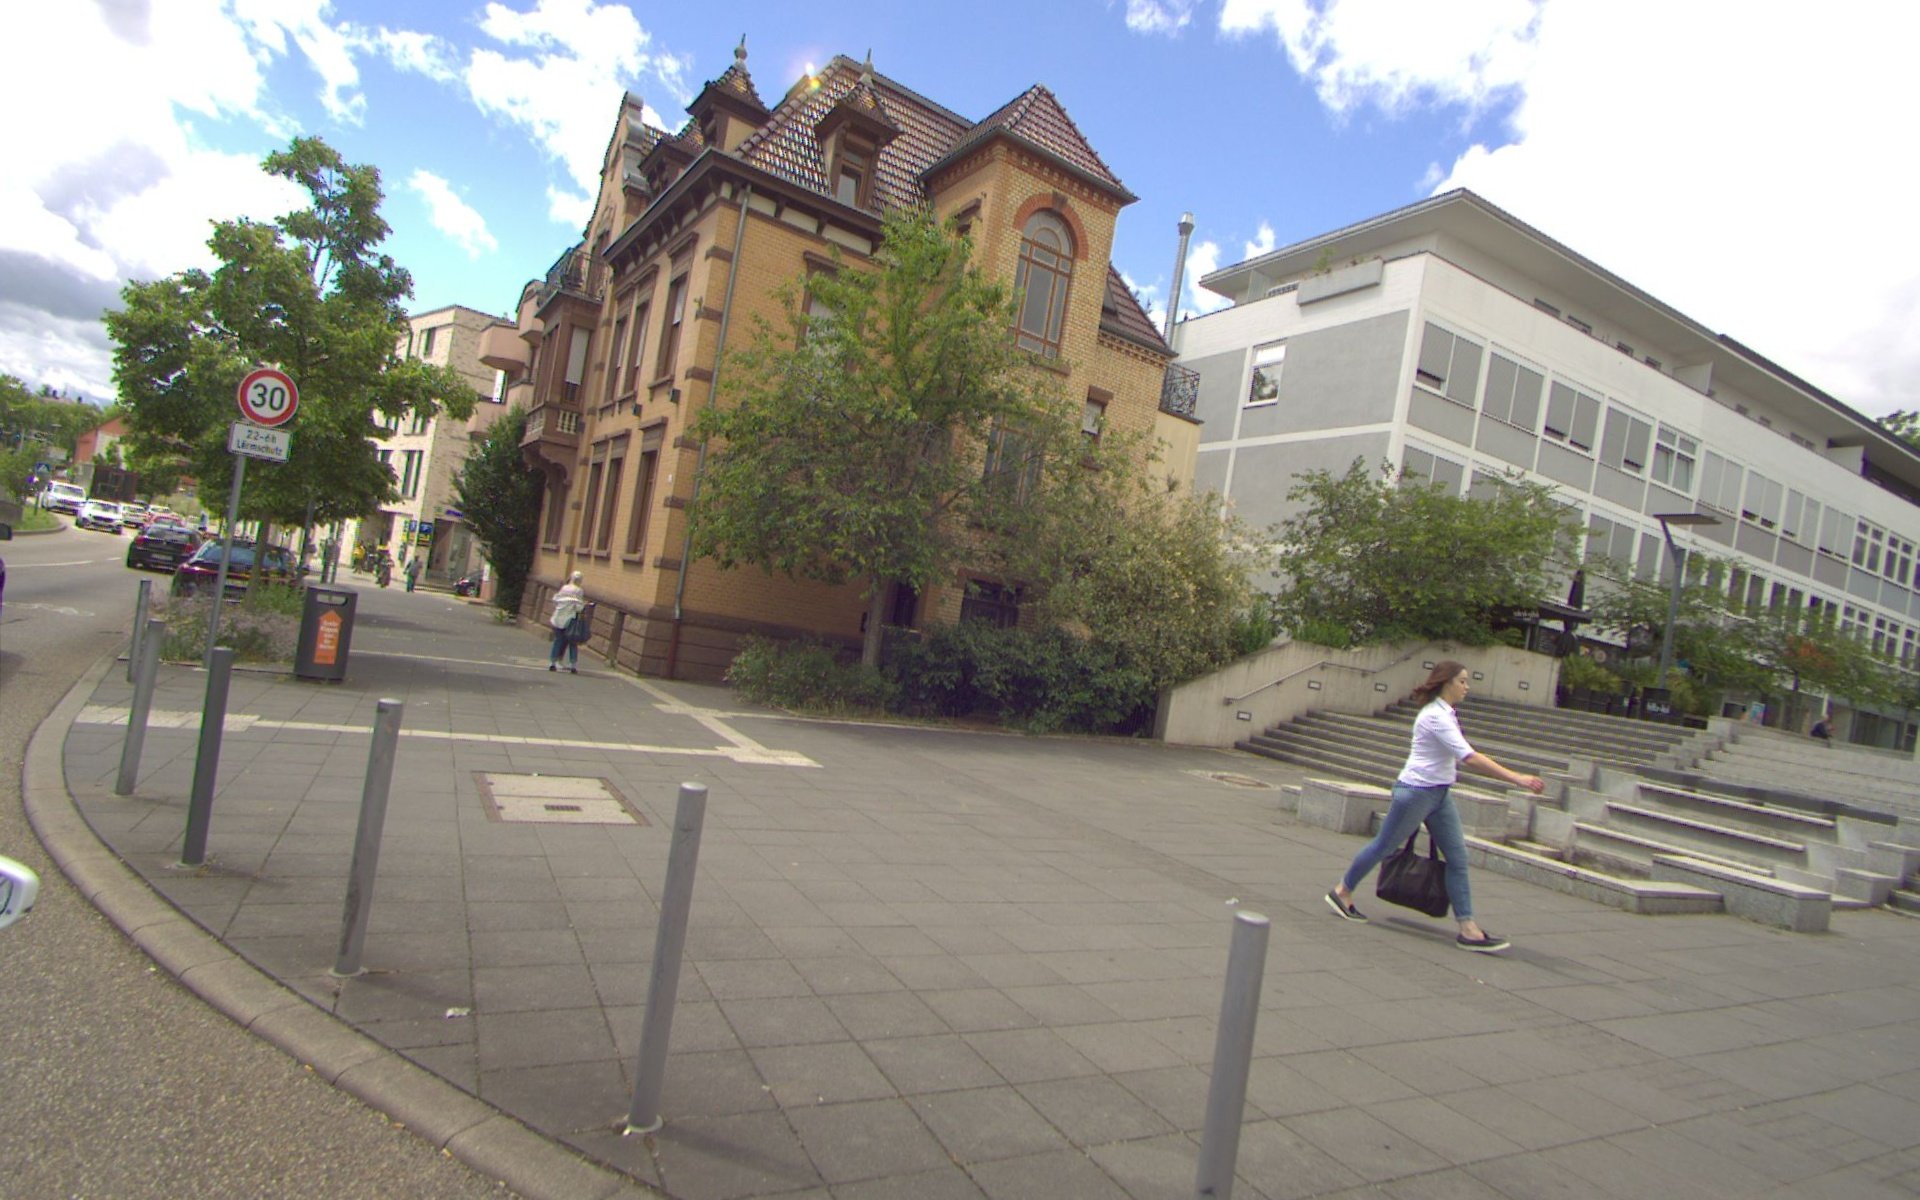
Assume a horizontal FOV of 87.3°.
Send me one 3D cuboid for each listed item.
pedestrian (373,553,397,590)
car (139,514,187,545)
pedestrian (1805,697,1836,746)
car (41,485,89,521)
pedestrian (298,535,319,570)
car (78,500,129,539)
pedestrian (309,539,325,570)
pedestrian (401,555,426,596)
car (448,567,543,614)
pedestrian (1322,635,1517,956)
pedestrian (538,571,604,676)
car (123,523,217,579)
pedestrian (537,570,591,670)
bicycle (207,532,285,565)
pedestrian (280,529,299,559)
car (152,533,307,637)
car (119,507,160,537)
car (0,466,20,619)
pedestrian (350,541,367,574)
[{"bbox_3d":[-26.703,-1.323,46.728,0.708,1.581,0.562,9,-2,-37],"label":"pedestrian"},{"bbox_3d":[-45.190,-3.997,57.034,1.606,1.399,3.787,10,-2,-45],"label":"car"},{"bbox_3d":[25.191,3.565,29.459,0.561,1.339,0.543,7,-1,41],"label":"pedestrian"},{"bbox_3d":[-60.689,-6.599,68.199,4.437,1.877,1.841,7,-5,44],"label":"car"},{"bbox_3d":[-33.951,-2.475,52.431,0.660,1.702,0.562,9,-2,-41],"label":"pedestrian"},{"bbox_3d":[-46.551,-4.388,54.721,1.837,1.624,3.954,13,-5,-40],"label":"car"},{"bbox_3d":[-37.405,-2.667,58.527,0.556,1.702,0.562,9,-1,-37],"label":"pedestrian"},{"bbox_3d":[-23.031,-1.042,42.390,0.628,1.645,0.692,9,-2,-37],"label":"pedestrian"},{"bbox_3d":[-23.799,-0.488,51.612,3.972,1.582,1.829,13,-4,-36],"label":"car"},{"bbox_3d":[2.874,1.166,6.284,0.765,1.766,0.705,7,-1,39],"label":"pedestrian"},{"bbox_3d":[-6.508,0.392,16.829,0.666,1.648,0.554,7,-1,28],"label":"pedestrian"},{"bbox_3d":[-24.410,-1.495,31.207,1.597,1.398,3.808,9,-2,-30],"label":"car"},{"bbox_3d":[-6.853,0.355,17.420,0.502,1.648,0.504,6,-1,37],"label":"pedestrian"},{"bbox_3d":[-36.099,-2.592,50.895,3.048,1.159,0.702,10,-2,-39],"label":"bicycle"},{"bbox_3d":[-40.887,-3.407,61.333,0.559,1.702,0.559,7,-1,34],"label":"pedestrian"},{"bbox_3d":[-12.898,-0.302,18.020,1.845,1.422,4.337,9,-2,-33],"label":"car"},{"bbox_3d":[-54.935,-5.207,67.367,1.837,1.540,3.956,13,-4,-40],"label":"car"},{"bbox_3d":[-9.131,-0.428,7.964,2.020,1.747,4.385,9,-2,-39],"label":"car"},{"bbox_3d":[-33.097,-2.324,55.357,0.556,1.711,0.632,9,-1,-37],"label":"pedestrian"}]
